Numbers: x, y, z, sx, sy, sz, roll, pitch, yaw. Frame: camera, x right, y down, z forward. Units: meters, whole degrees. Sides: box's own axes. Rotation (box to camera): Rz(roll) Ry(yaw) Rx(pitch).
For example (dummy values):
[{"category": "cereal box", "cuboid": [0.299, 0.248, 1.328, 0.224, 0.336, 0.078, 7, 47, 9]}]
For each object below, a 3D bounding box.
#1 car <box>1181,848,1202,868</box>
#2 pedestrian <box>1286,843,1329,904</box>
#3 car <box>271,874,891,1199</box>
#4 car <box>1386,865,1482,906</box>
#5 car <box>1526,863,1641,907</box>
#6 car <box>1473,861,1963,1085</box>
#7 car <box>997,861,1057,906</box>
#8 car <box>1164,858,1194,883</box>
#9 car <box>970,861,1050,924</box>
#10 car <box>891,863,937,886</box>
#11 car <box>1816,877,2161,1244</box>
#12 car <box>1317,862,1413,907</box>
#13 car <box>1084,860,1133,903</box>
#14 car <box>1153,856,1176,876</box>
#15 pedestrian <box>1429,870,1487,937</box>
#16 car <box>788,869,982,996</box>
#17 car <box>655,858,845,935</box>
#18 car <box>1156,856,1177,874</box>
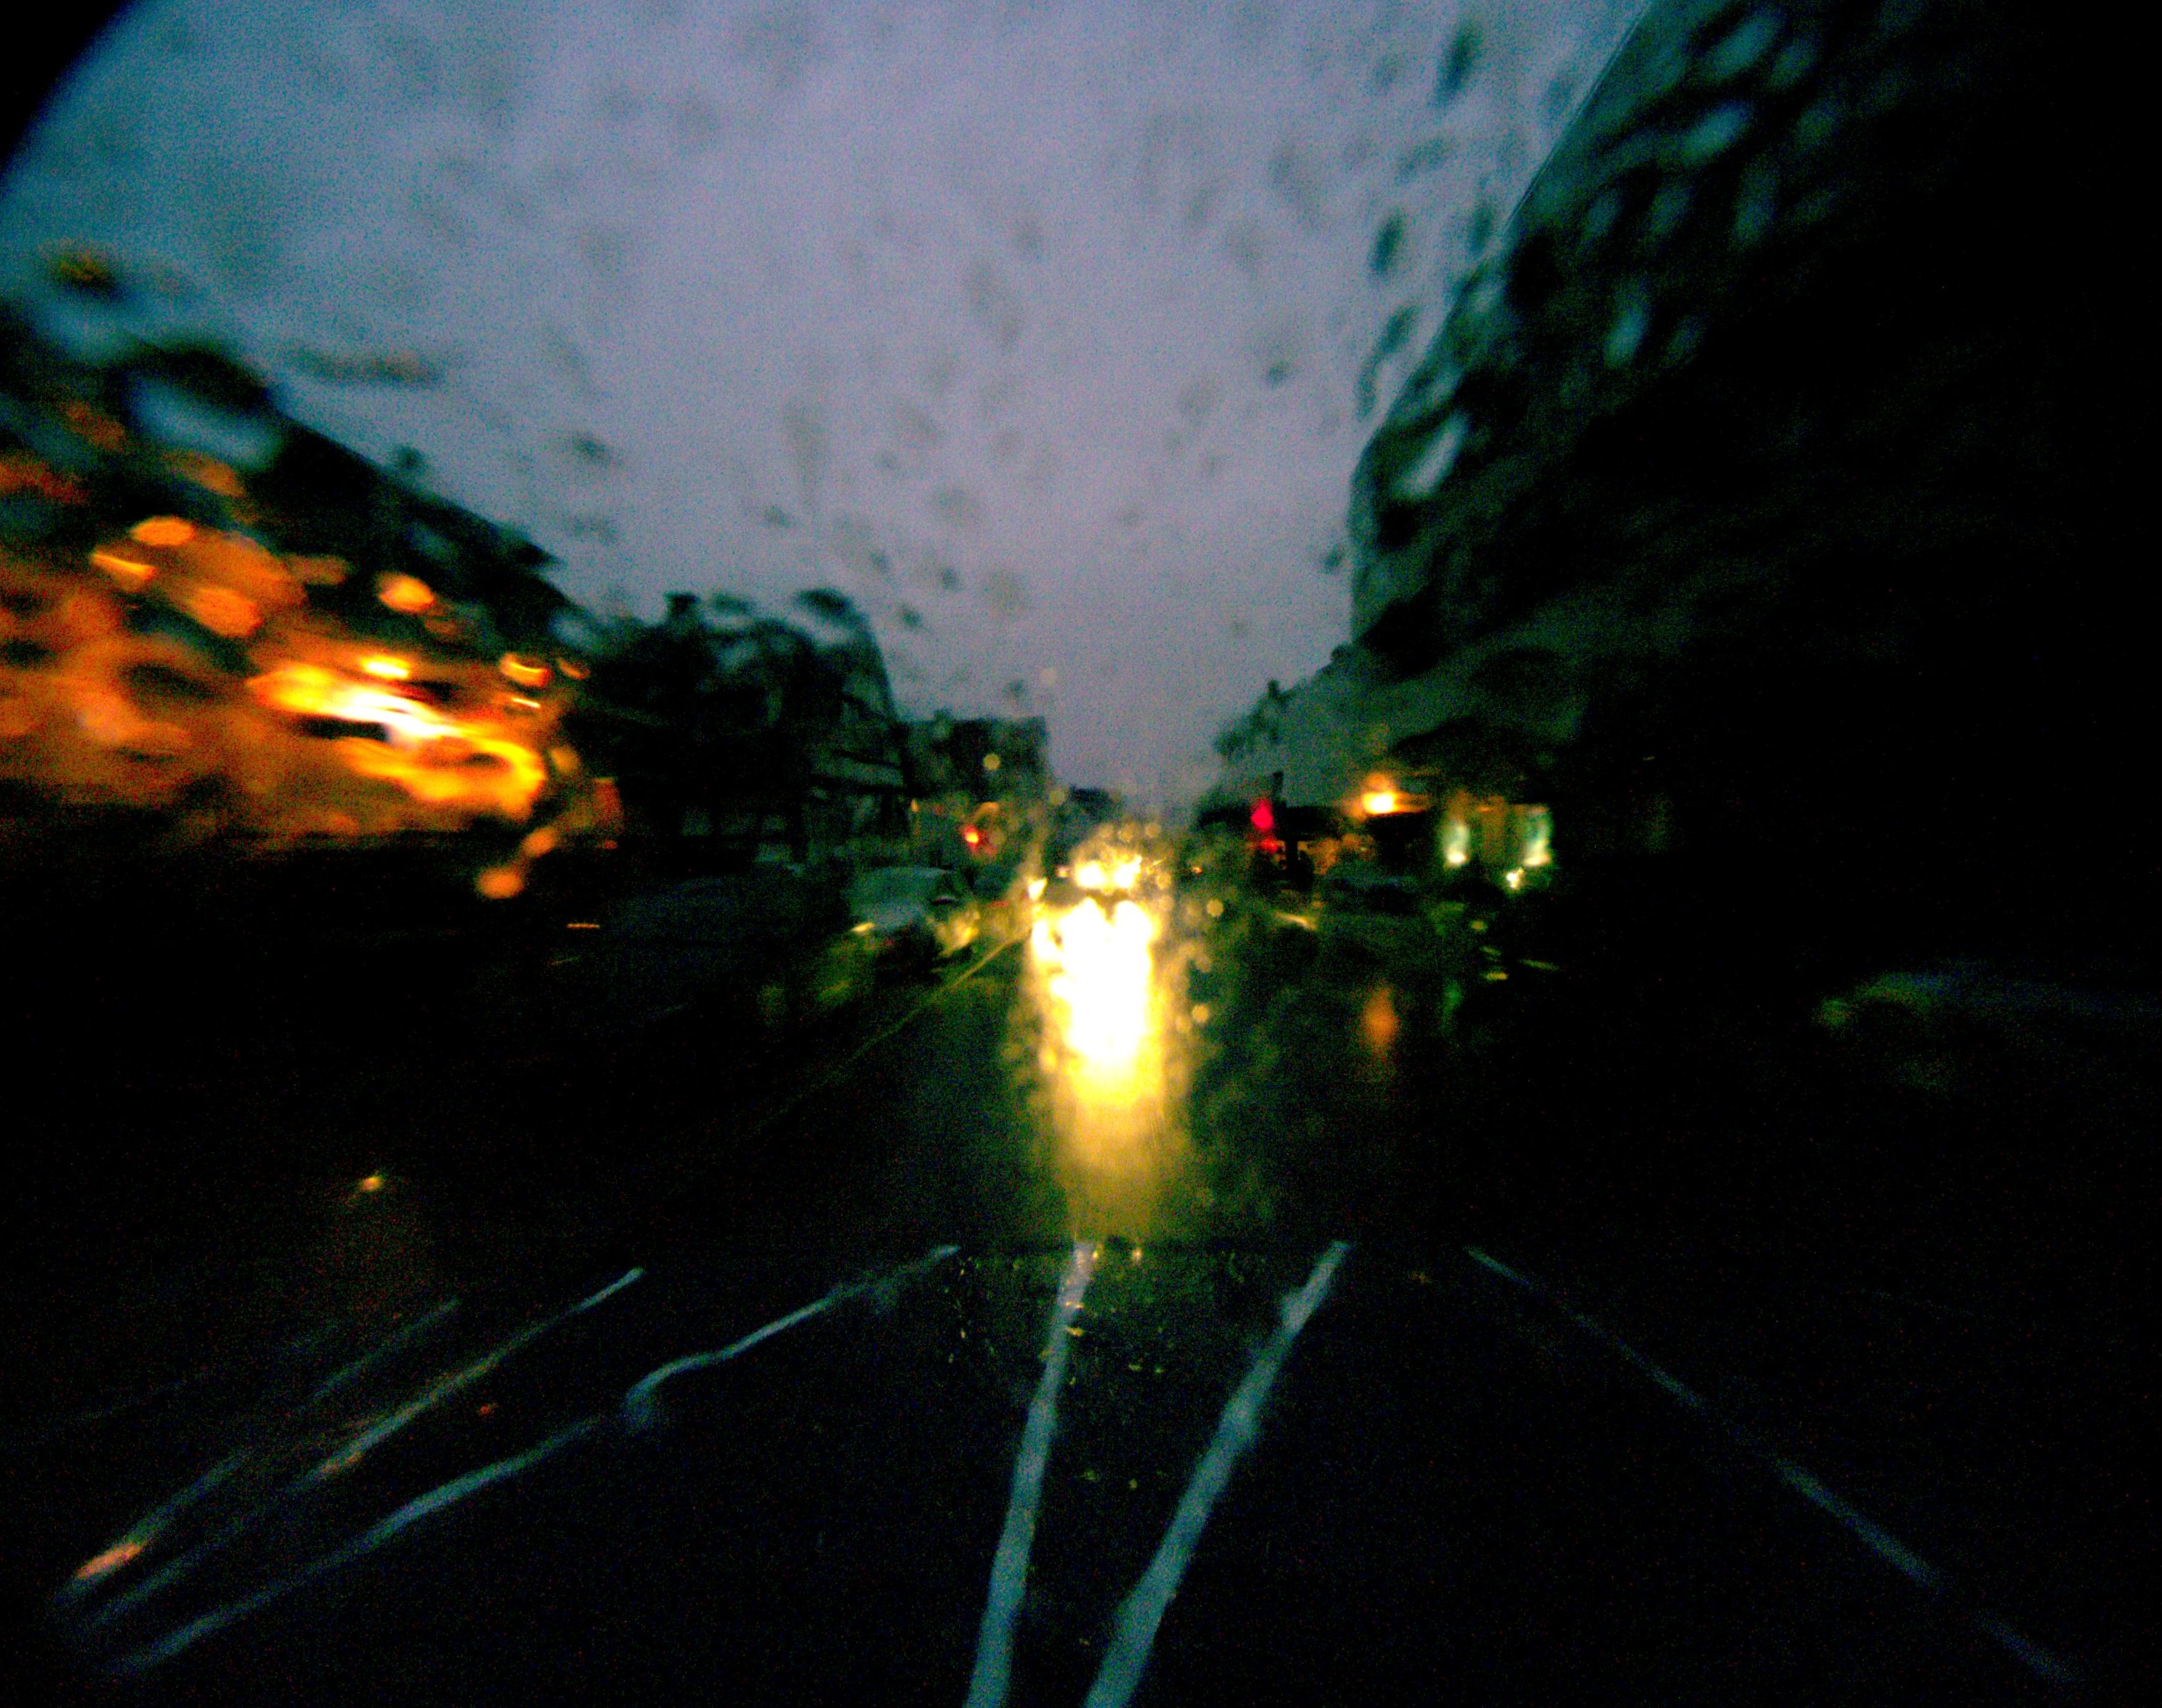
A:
[{"category": "car", "cuboid": [15.599, 0.557, 107.163, 2.044, 2.643, 4.216, -3, -1, 18]}, {"category": "pedestrian", "cuboid": [7.277, 0.623, 24.477, 1.200, 1.927, 0.977, -1, 0, 10]}, {"category": "car", "cuboid": [-3.050, 0.962, 6.051, 1.827, 1.414, 4.608, 1, 0, 1]}, {"category": "car", "cuboid": [12.863, 1.142, 27.983, 1.701, 1.392, 4.453, 0, -2, 4]}, {"category": "car", "cuboid": [18.021, 1.096, 27.510, 1.701, 1.455, 4.454, 0, -2, 7]}, {"category": "car", "cuboid": [5.643, 0.892, 7.497, 1.619, 1.524, 3.929, -2, 0, 3]}, {"category": "car", "cuboid": [-1.909, 1.014, 27.953, 1.736, 1.450, 4.000, 1, 0, 2]}, {"category": "car", "cuboid": [6.819, 1.141, 53.184, 1.725, 1.604, 3.816, -3, 0, 3]}, {"category": "car", "cuboid": [-1.908, 0.999, 21.502, 1.768, 1.517, 4.389, 1, 0, 1]}, {"category": "car", "cuboid": [-10.997, 1.315, 49.825, 1.798, 1.459, 4.214, 1, -1, -29]}, {"category": "car", "cuboid": [5.376, 0.898, 2.478, 1.679, 1.438, 4.428, -2, 0, 1]}, {"category": "car", "cuboid": [10.267, 1.088, 27.842, 1.768, 1.490, 4.451, 0, -2, -1]}, {"category": "car", "cuboid": [1.139, 1.082, 31.195, 1.878, 1.622, 4.001, -1, 0, 2]}, {"category": "car", "cuboid": [8.697, 1.225, 78.762, 1.883, 1.888, 4.839, -3, -1, 11]}, {"category": "pedestrian", "cuboid": [7.769, 1.013, 15.689, 0.757, 1.302, 0.828, -2, 1, 0]}, {"category": "car", "cuboid": [-2.666, 1.003, 11.252, 1.630, 1.433, 3.800, 1, 0, 4]}, {"category": "car", "cuboid": [-7.012, 0.870, 16.322, 3.298, 1.433, 1.686, 2, 1, 1]}, {"category": "car", "cuboid": [7.857, 0.975, 69.539, 1.798, 1.448, 4.397, -3, 0, 8]}]
